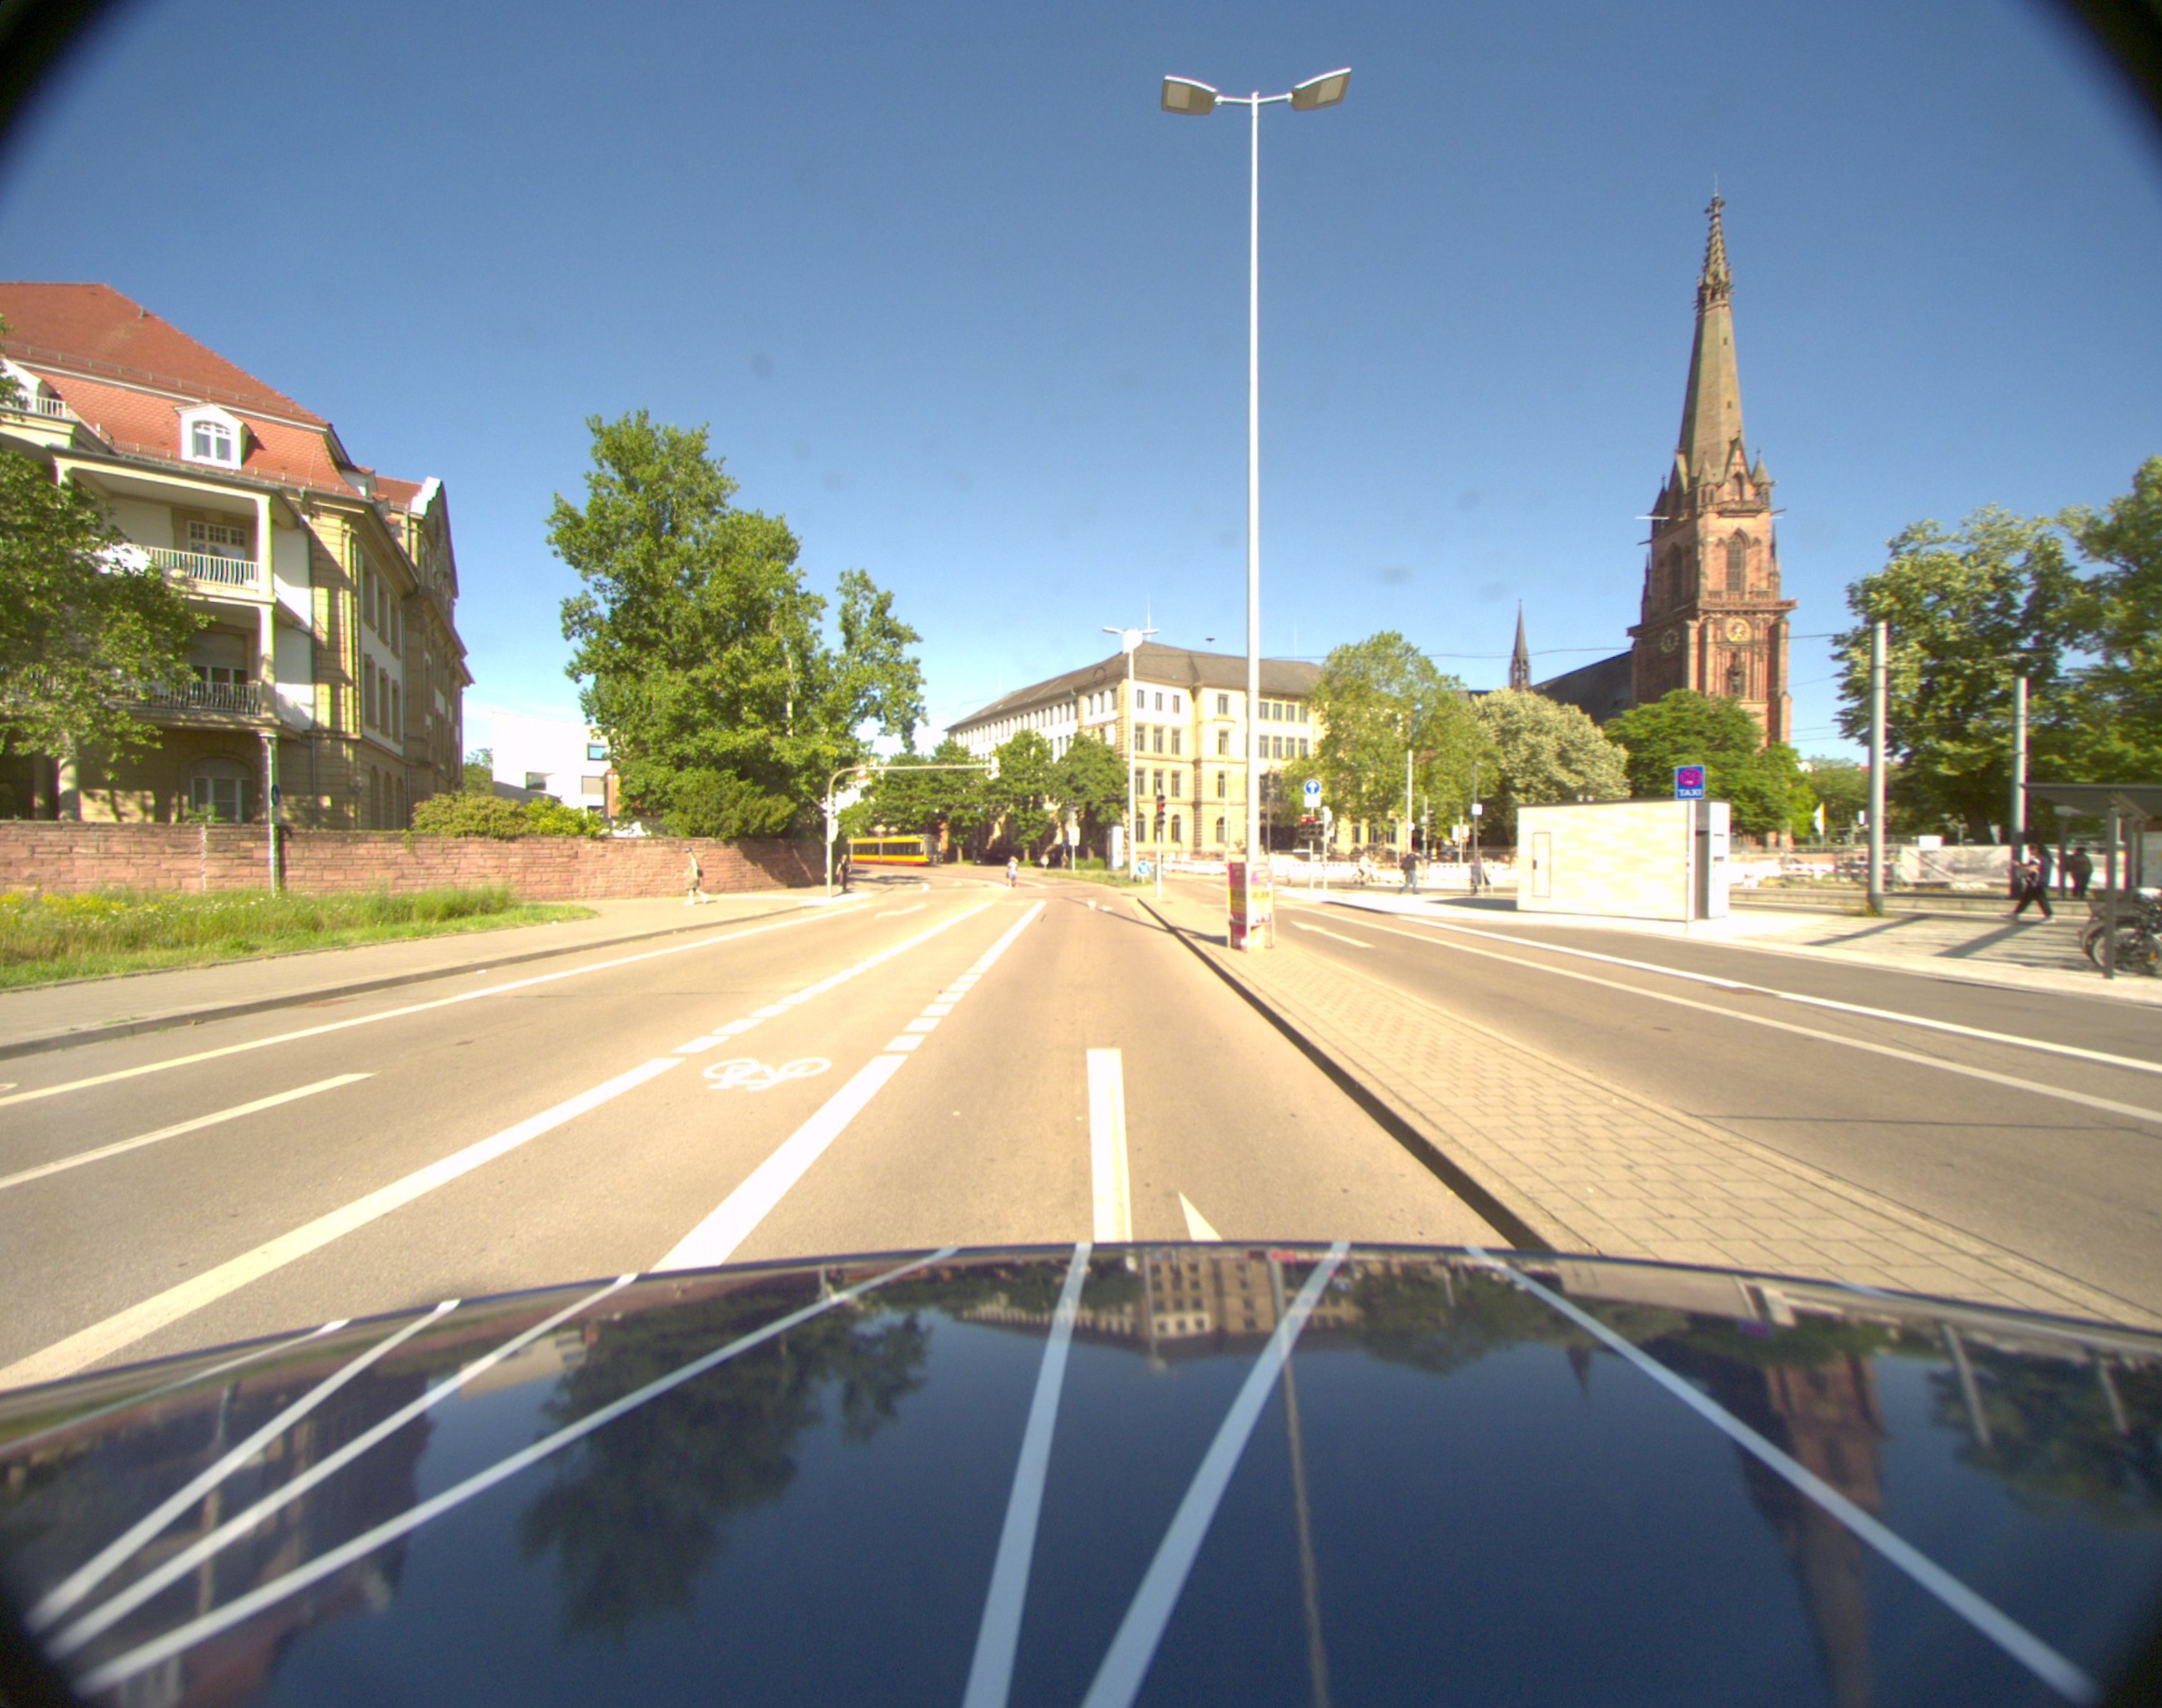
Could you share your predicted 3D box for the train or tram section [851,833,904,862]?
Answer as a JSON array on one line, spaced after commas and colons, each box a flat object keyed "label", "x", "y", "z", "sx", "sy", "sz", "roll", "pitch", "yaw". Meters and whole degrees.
[{"label": "train or tram section", "x": -26.354, "y": -0.838, "z": 97.905, "sx": 2.947, "sy": 3.500, "sz": 11.646, "roll": -1, "pitch": 1, "yaw": -34}]

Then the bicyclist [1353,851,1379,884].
[{"label": "bicyclist", "x": 13.514, "y": 0.641, "z": 36.073, "sx": 0.887, "sy": 1.562, "sz": 0.740, "roll": -1, "pitch": 1, "yaw": -19}]

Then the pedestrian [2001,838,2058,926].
[{"label": "pedestrian", "x": 20.614, "y": 0.592, "z": 16.526, "sx": 0.622, "sy": 1.849, "sz": 0.700, "roll": -2, "pitch": 1, "yaw": -44}]

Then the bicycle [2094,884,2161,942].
[{"label": "bicycle", "x": 19.521, "y": 1.070, "z": 13.572, "sx": 0.407, "sy": 0.993, "sz": 1.679, "roll": -3, "pitch": 2, "yaw": -33}]

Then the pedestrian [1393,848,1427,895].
[{"label": "pedestrian", "x": 12.205, "y": 0.647, "z": 28.219, "sx": 1.001, "sy": 1.733, "sz": 0.631, "roll": 0, "pitch": 1, "yaw": 8}]

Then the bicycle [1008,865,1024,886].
[{"label": "bicycle", "x": -3.412, "y": 1.126, "z": 39.673, "sx": 0.741, "sy": 0.989, "sz": 2.305, "roll": -2, "pitch": 1, "yaw": -6}]

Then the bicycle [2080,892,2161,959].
[{"label": "bicycle", "x": 17.192, "y": 1.147, "z": 12.005, "sx": 0.407, "sy": 0.993, "sz": 1.679, "roll": -3, "pitch": 2, "yaw": -33}]

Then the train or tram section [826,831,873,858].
[{"label": "train or tram section", "x": -32.869, "y": -1.336, "z": 107.472, "sx": 2.947, "sy": 3.662, "sz": 11.646, "roll": -1, "pitch": 1, "yaw": -34}]

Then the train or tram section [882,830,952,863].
[{"label": "train or tram section", "x": -19.093, "y": -0.852, "z": 87.404, "sx": 2.947, "sy": 3.500, "sz": 13.803, "roll": -1, "pitch": 1, "yaw": -34}]

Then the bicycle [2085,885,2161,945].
[{"label": "bicycle", "x": 19.036, "y": 1.089, "z": 13.330, "sx": 0.407, "sy": 0.993, "sz": 1.679, "roll": -3, "pitch": 2, "yaw": -33}]

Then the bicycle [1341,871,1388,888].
[{"label": "bicycle", "x": 13.467, "y": 1.203, "z": 36.078, "sx": 2.054, "sy": 0.777, "sz": 0.740, "roll": 0, "pitch": 1, "yaw": -18}]

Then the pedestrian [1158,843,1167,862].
[{"label": "pedestrian", "x": 7.258, "y": -0.107, "z": 67.743, "sx": 0.540, "sy": 1.710, "sz": 0.545, "roll": -1, "pitch": 1, "yaw": -37}]

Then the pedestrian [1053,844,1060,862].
[{"label": "pedestrian", "x": -2.732, "y": -0.138, "z": 84.774, "sx": 0.557, "sy": 2.002, "sz": 0.645, "roll": -1, "pitch": 1, "yaw": -37}]

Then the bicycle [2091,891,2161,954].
[{"label": "bicycle", "x": 17.972, "y": 1.143, "z": 12.452, "sx": 0.407, "sy": 0.993, "sz": 1.679, "roll": -3, "pitch": 2, "yaw": -33}]

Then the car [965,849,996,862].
[{"label": "car", "x": -12.004, "y": 0.147, "z": 90.498, "sx": 1.839, "sy": 1.587, "sz": 3.989, "roll": -1, "pitch": 1, "yaw": -37}]

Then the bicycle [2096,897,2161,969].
[{"label": "bicycle", "x": 16.136, "y": 1.188, "z": 10.992, "sx": 0.407, "sy": 0.993, "sz": 1.678, "roll": -3, "pitch": 3, "yaw": -33}]

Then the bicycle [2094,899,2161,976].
[{"label": "bicycle", "x": 15.038, "y": 1.171, "z": 10.201, "sx": 0.407, "sy": 0.993, "sz": 1.678, "roll": -3, "pitch": 3, "yaw": -33}]

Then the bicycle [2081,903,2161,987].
[{"label": "bicycle", "x": 13.993, "y": 1.193, "z": 9.544, "sx": 0.407, "sy": 0.993, "sz": 1.678, "roll": -3, "pitch": 3, "yaw": -33}]

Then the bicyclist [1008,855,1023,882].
[{"label": "bicyclist", "x": -3.431, "y": 0.752, "z": 39.653, "sx": 0.741, "sy": 1.363, "sz": 0.626, "roll": -2, "pitch": 1, "yaw": -6}]

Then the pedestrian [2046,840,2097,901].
[{"label": "pedestrian", "x": 30.681, "y": 0.504, "z": 23.546, "sx": 0.619, "sy": 1.849, "sz": 0.703, "roll": 0, "pitch": 1, "yaw": 11}]

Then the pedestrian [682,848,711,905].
[{"label": "pedestrian", "x": -12.494, "y": 0.714, "z": 24.704, "sx": 0.788, "sy": 1.847, "sz": 0.629, "roll": -1, "pitch": 1, "yaw": -24}]

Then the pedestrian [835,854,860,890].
[{"label": "pedestrian", "x": -10.773, "y": 0.823, "z": 35.063, "sx": 0.931, "sy": 1.657, "sz": 0.631, "roll": 0, "pitch": 1, "yaw": 6}]

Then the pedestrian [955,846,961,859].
[{"label": "pedestrian", "x": -17.433, "y": -0.186, "z": 107.723, "sx": 0.578, "sy": 1.893, "sz": 0.849, "roll": -1, "pitch": 1, "yaw": -36}]
